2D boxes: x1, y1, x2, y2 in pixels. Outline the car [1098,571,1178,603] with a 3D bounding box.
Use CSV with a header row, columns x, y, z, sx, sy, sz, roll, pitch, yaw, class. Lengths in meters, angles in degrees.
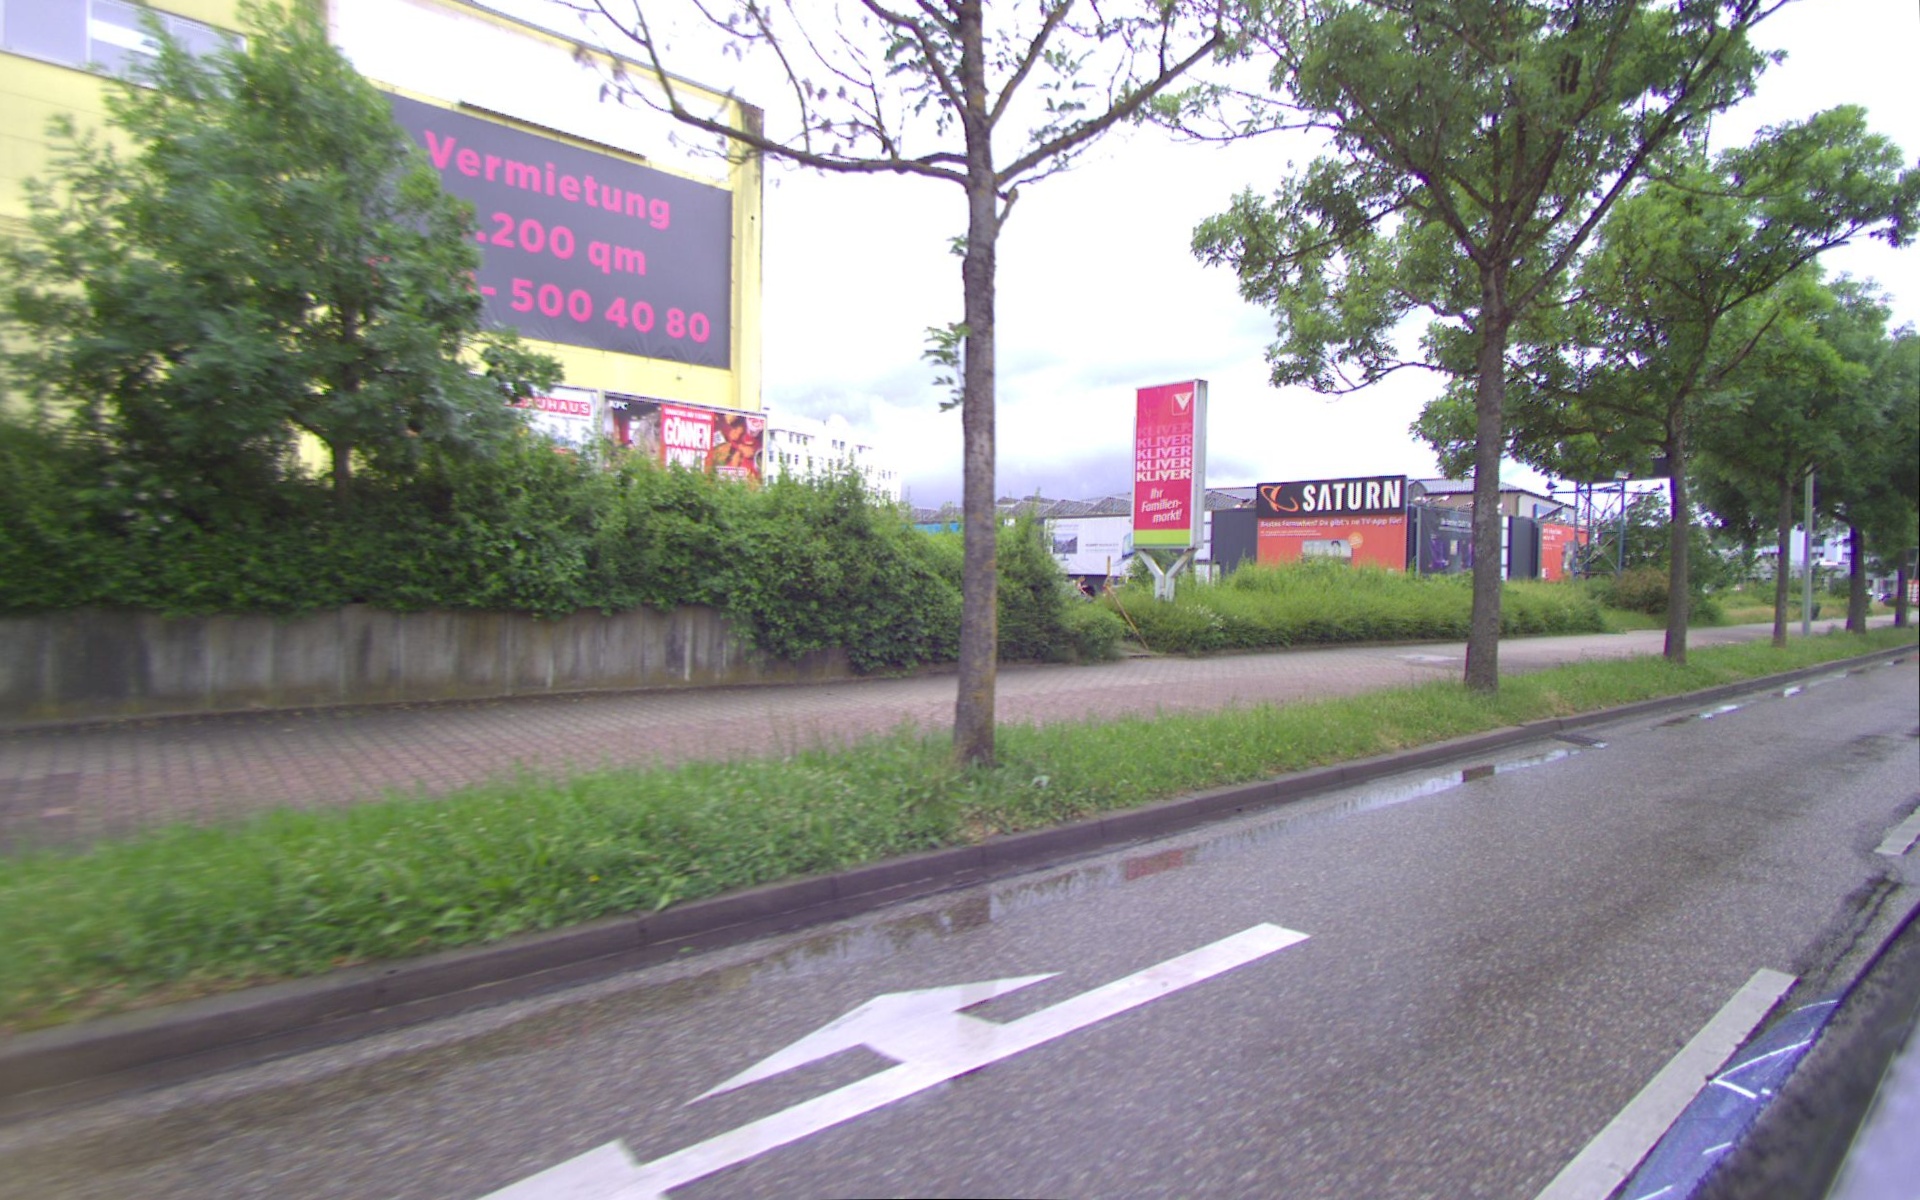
x,y,z,sx,sy,sz,roll,pitch,yaw,class
9.211,-0.681,52.288,4.291,1.593,1.906,0,2,-44,car
